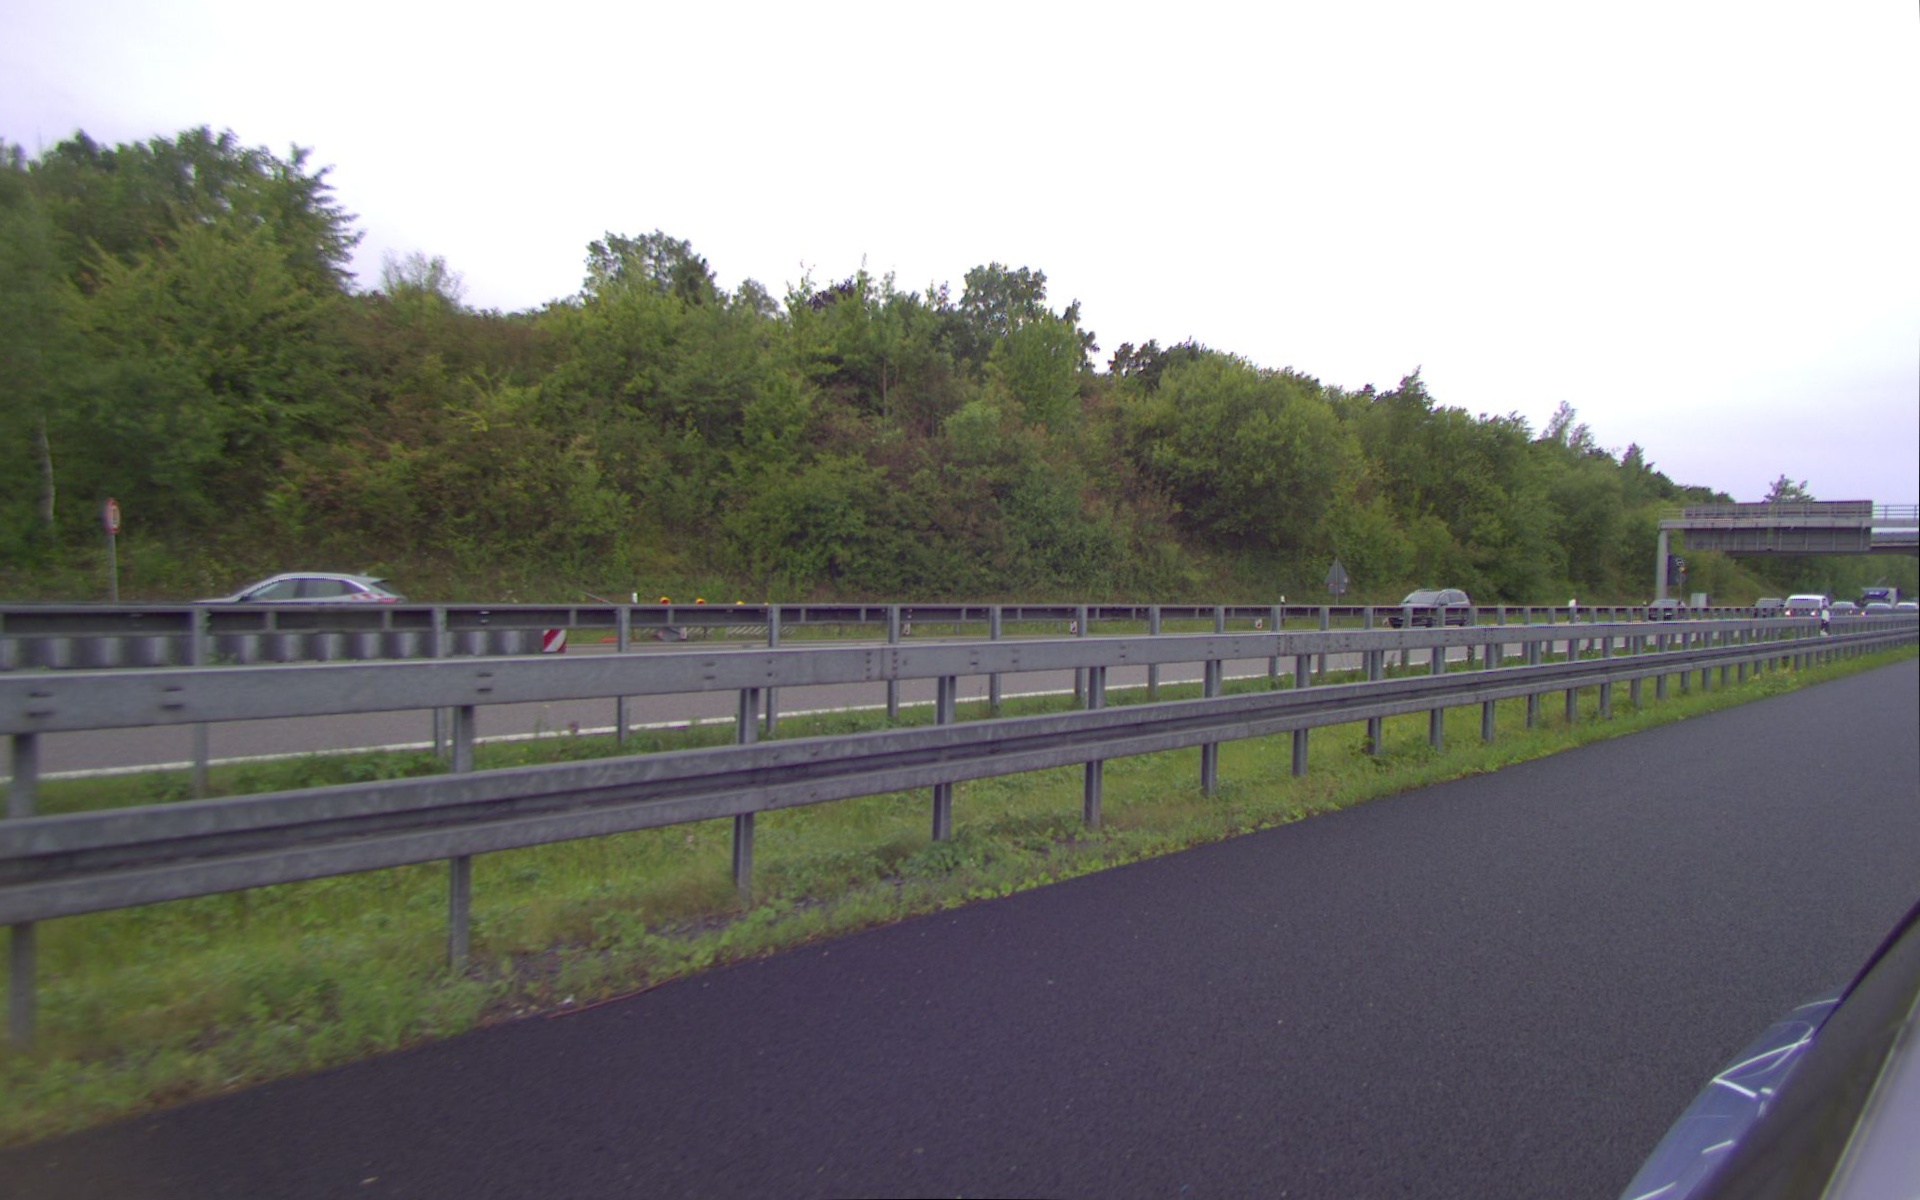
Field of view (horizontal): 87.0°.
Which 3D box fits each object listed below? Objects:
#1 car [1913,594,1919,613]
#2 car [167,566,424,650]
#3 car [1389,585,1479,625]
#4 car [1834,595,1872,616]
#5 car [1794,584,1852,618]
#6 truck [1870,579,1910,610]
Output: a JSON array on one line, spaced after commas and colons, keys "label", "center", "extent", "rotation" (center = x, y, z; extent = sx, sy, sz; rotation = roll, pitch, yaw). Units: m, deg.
[{"label": "car", "center": [94.727, 0.374, 98.758], "extent": [4.201, 1.837, 2.012], "rotation": [0, 1, -41]}, {"label": "car", "center": [-13.935, 0.134, 21.587], "extent": [4.407, 1.634, 1.869], "rotation": [0, 1, -28]}, {"label": "car", "center": [19.875, 0.180, 42.345], "extent": [4.166, 1.602, 1.863], "rotation": [0, 1, -41]}, {"label": "car", "center": [80.550, 0.482, 91.304], "extent": [4.201, 1.837, 2.012], "rotation": [0, 1, -41]}, {"label": "car", "center": [48.462, 0.045, 56.790], "extent": [4.567, 1.827, 1.863], "rotation": [0, 1, -41]}, {"label": "truck", "center": [110.701, -0.694, 120.414], "extent": [9.129, 3.460, 2.904], "rotation": [0, 1, -44]}]
